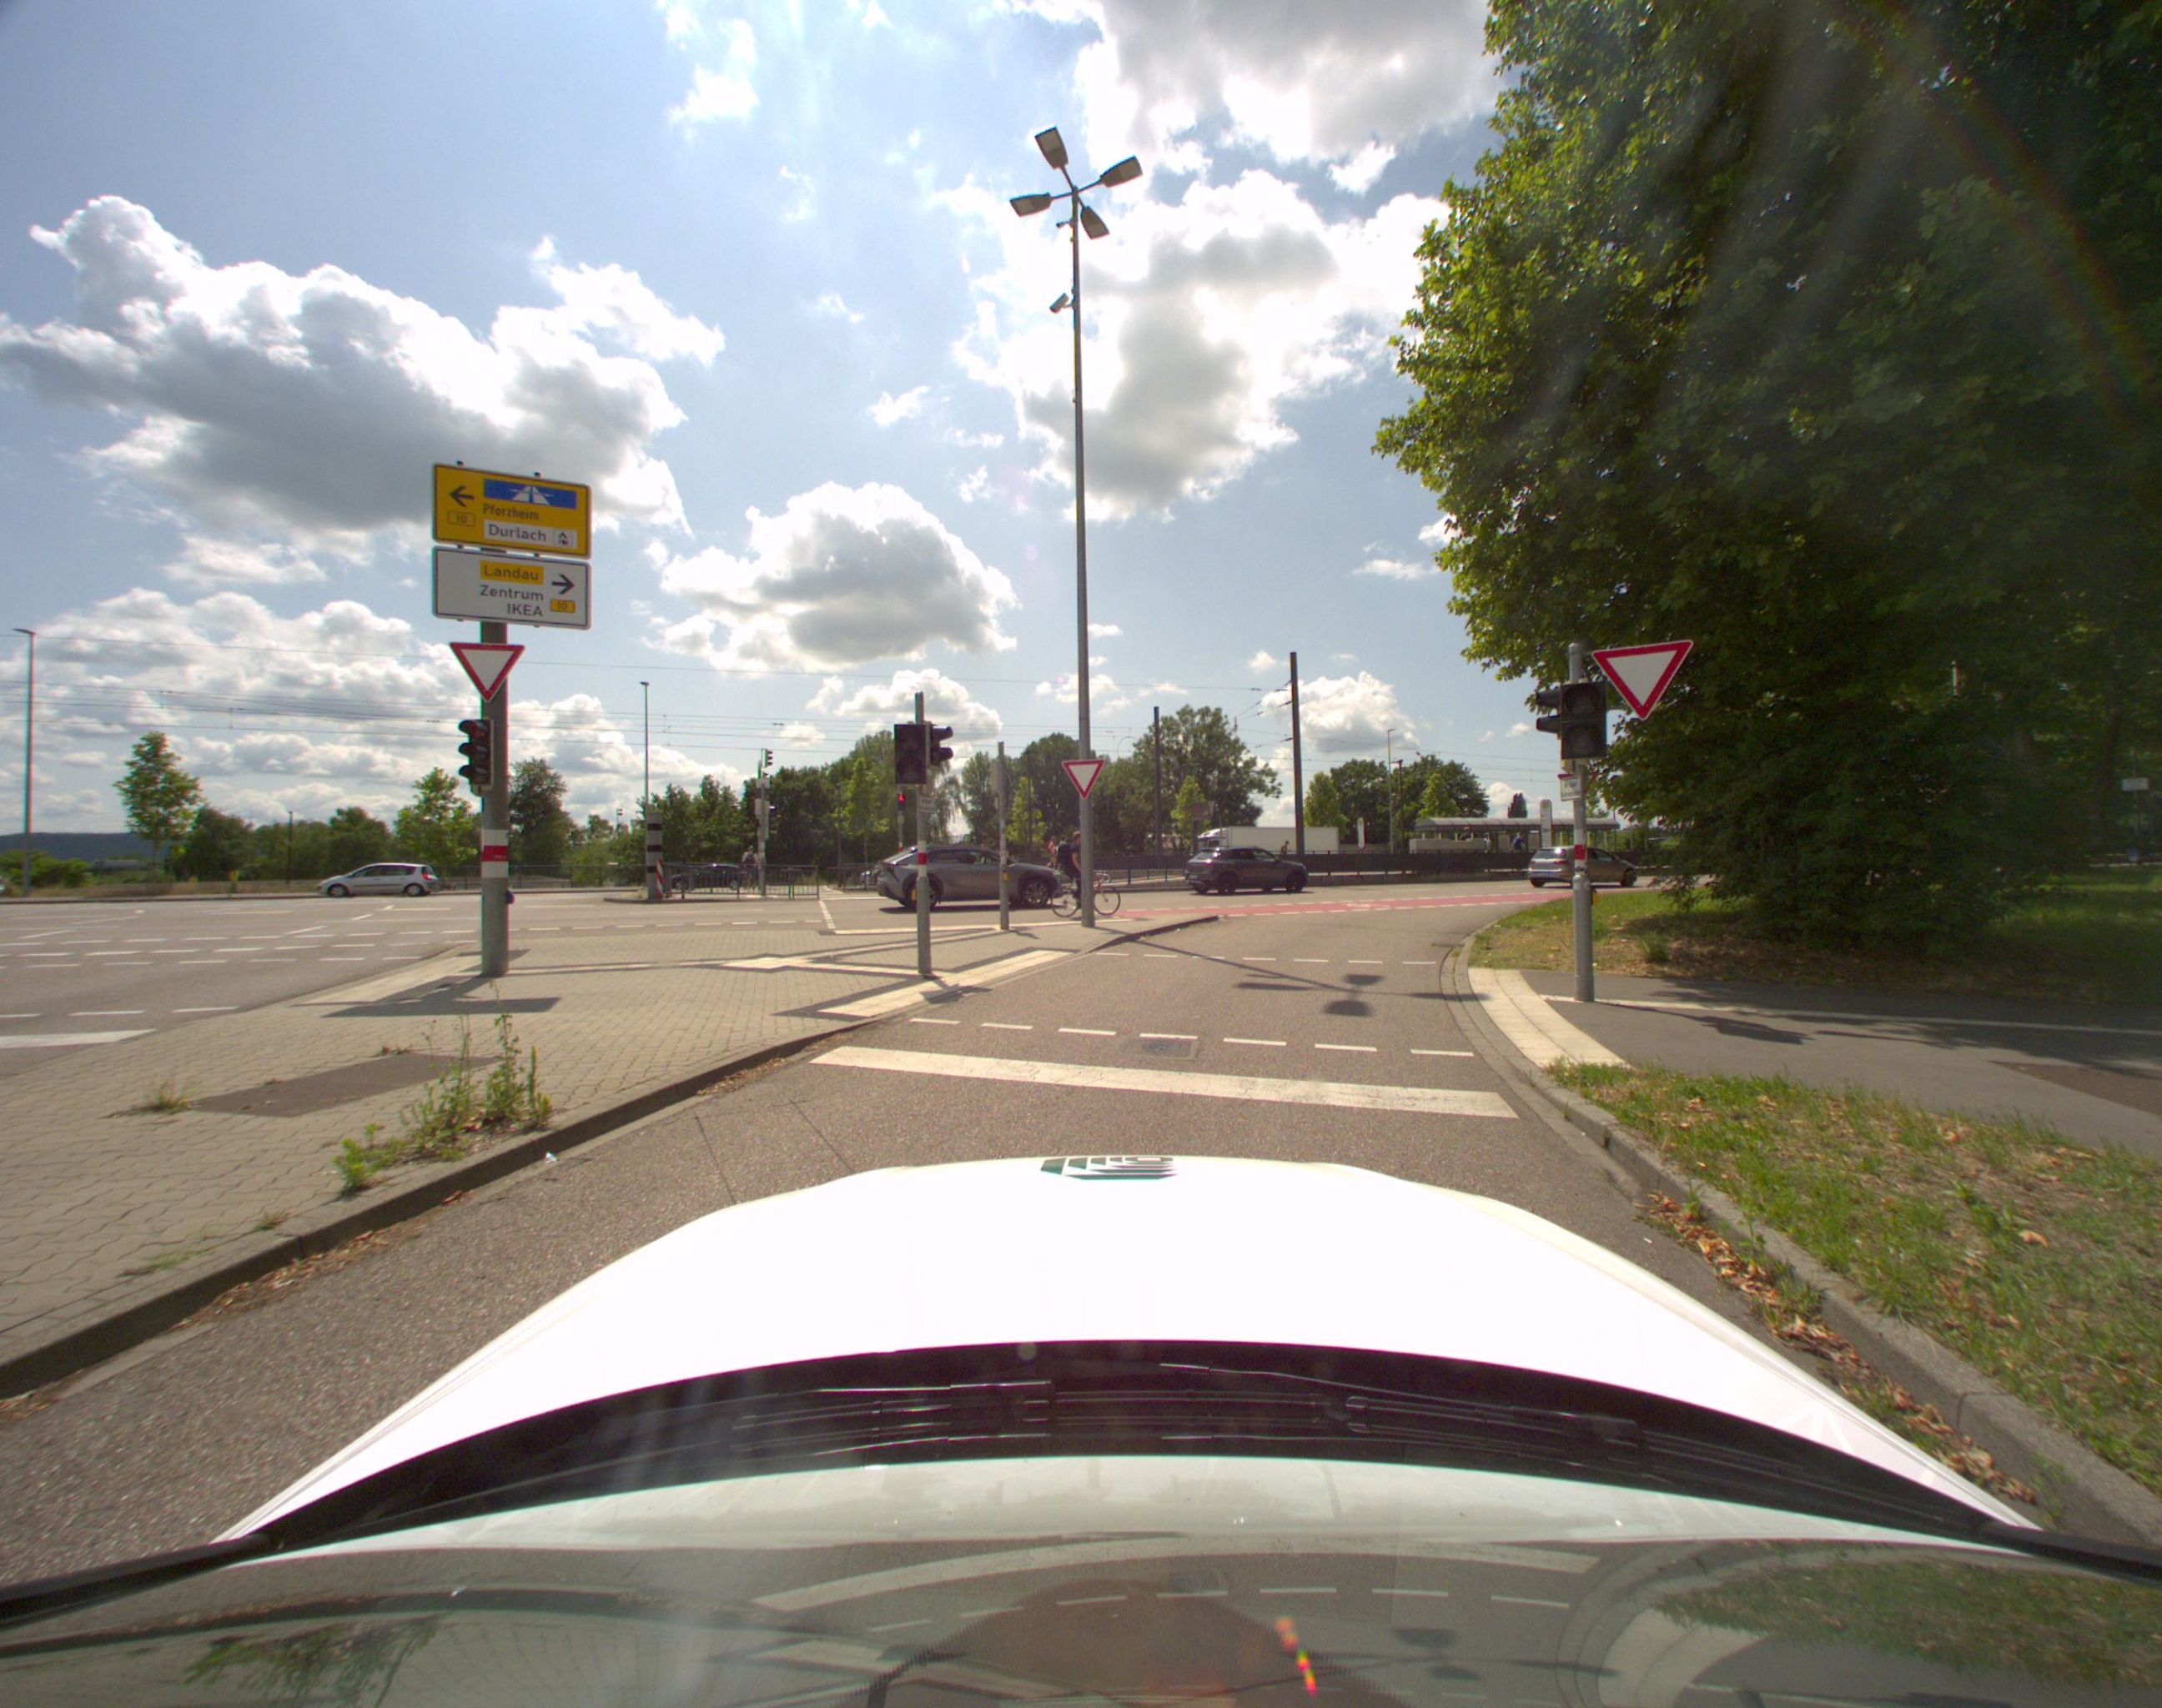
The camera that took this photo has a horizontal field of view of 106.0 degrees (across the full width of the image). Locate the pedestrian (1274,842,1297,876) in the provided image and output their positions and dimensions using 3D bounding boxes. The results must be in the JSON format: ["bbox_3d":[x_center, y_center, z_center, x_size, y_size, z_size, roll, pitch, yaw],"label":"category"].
[{"bbox_3d":[11.270,0.268,44.901,0.930,1.807,0.731,-1,0,-22],"label":"pedestrian"}]

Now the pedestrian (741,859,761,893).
[{"bbox_3d":[-19.949,1.300,49.259,0.987,2.013,0.894,-2,0,-29],"label":"pedestrian"}]

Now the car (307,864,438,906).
[{"bbox_3d":[-33.035,1.443,38.147,4.333,1.659,1.796,-1,-5,-28],"label":"car"}]

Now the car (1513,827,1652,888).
[{"bbox_3d":[17.873,0.099,29.054,4.365,1.989,1.986,-2,0,-22],"label":"car"}]

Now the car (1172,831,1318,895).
[{"bbox_3d":[5.419,0.257,26.954,4.365,1.989,1.986,-1,0,-22],"label":"car"}]

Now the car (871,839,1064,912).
[{"bbox_3d":[-2.863,0.496,20.603,4.524,1.674,1.889,0,-1,-23],"label":"car"}]

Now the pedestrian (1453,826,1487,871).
[{"bbox_3d":[17.118,-0.229,35.812,0.995,1.939,0.869,-2,0,-22],"label":"pedestrian"}]

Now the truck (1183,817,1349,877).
[{"bbox_3d":[13.485,-0.560,59.012,11.996,4.104,2.933,-1,0,-20],"label":"truck"}]

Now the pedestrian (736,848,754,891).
[{"bbox_3d":[-14.009,0.646,33.990,0.613,1.769,0.668,-1,0,-19],"label":"pedestrian"}]

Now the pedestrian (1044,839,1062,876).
[{"bbox_3d":[-1.326,0.145,38.652,0.708,1.721,0.597,-2,0,-19],"label":"pedestrian"}]

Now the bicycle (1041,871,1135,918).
[{"bbox_3d":[0.161,0.896,18.307,2.024,0.999,0.617,0,0,-22],"label":"bicycle"}]

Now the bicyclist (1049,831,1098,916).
[{"bbox_3d":[-0.174,0.412,18.181,0.924,1.846,0.607,-1,0,-21],"label":"bicyclist"}]

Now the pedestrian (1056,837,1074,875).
[{"bbox_3d":[-0.761,0.083,37.919,0.678,1.748,0.633,-1,1,-19],"label":"pedestrian"}]

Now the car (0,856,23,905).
[{"bbox_3d":[-41.672,1.030,28.634,5.137,1.808,1.985,-2,-1,-22],"label":"car"}]

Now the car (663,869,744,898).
[{"bbox_3d":[-20.464,1.564,44.207,3.903,1.409,1.655,-1,0,-29],"label":"car"}]

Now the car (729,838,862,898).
[{"bbox_3d":[-9.508,0.429,27.177,4.004,1.783,1.895,-2,0,-23],"label":"car"}]

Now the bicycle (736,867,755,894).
[{"bbox_3d":[-14.016,1.091,34.020,0.621,1.087,1.711,-1,0,-19],"label":"bicycle"}]

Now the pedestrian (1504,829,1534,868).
[{"bbox_3d":[19.686,-0.254,36.617,0.930,1.755,0.731,-1,0,-22],"label":"pedestrian"}]

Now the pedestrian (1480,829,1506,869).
[{"bbox_3d":[19.299,-0.234,38.137,0.868,1.871,0.679,-2,0,10],"label":"pedestrian"}]

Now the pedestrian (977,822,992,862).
[{"bbox_3d":[-4.323,-0.534,36.393,0.524,1.721,0.726,-2,0,-17],"label":"pedestrian"}]
